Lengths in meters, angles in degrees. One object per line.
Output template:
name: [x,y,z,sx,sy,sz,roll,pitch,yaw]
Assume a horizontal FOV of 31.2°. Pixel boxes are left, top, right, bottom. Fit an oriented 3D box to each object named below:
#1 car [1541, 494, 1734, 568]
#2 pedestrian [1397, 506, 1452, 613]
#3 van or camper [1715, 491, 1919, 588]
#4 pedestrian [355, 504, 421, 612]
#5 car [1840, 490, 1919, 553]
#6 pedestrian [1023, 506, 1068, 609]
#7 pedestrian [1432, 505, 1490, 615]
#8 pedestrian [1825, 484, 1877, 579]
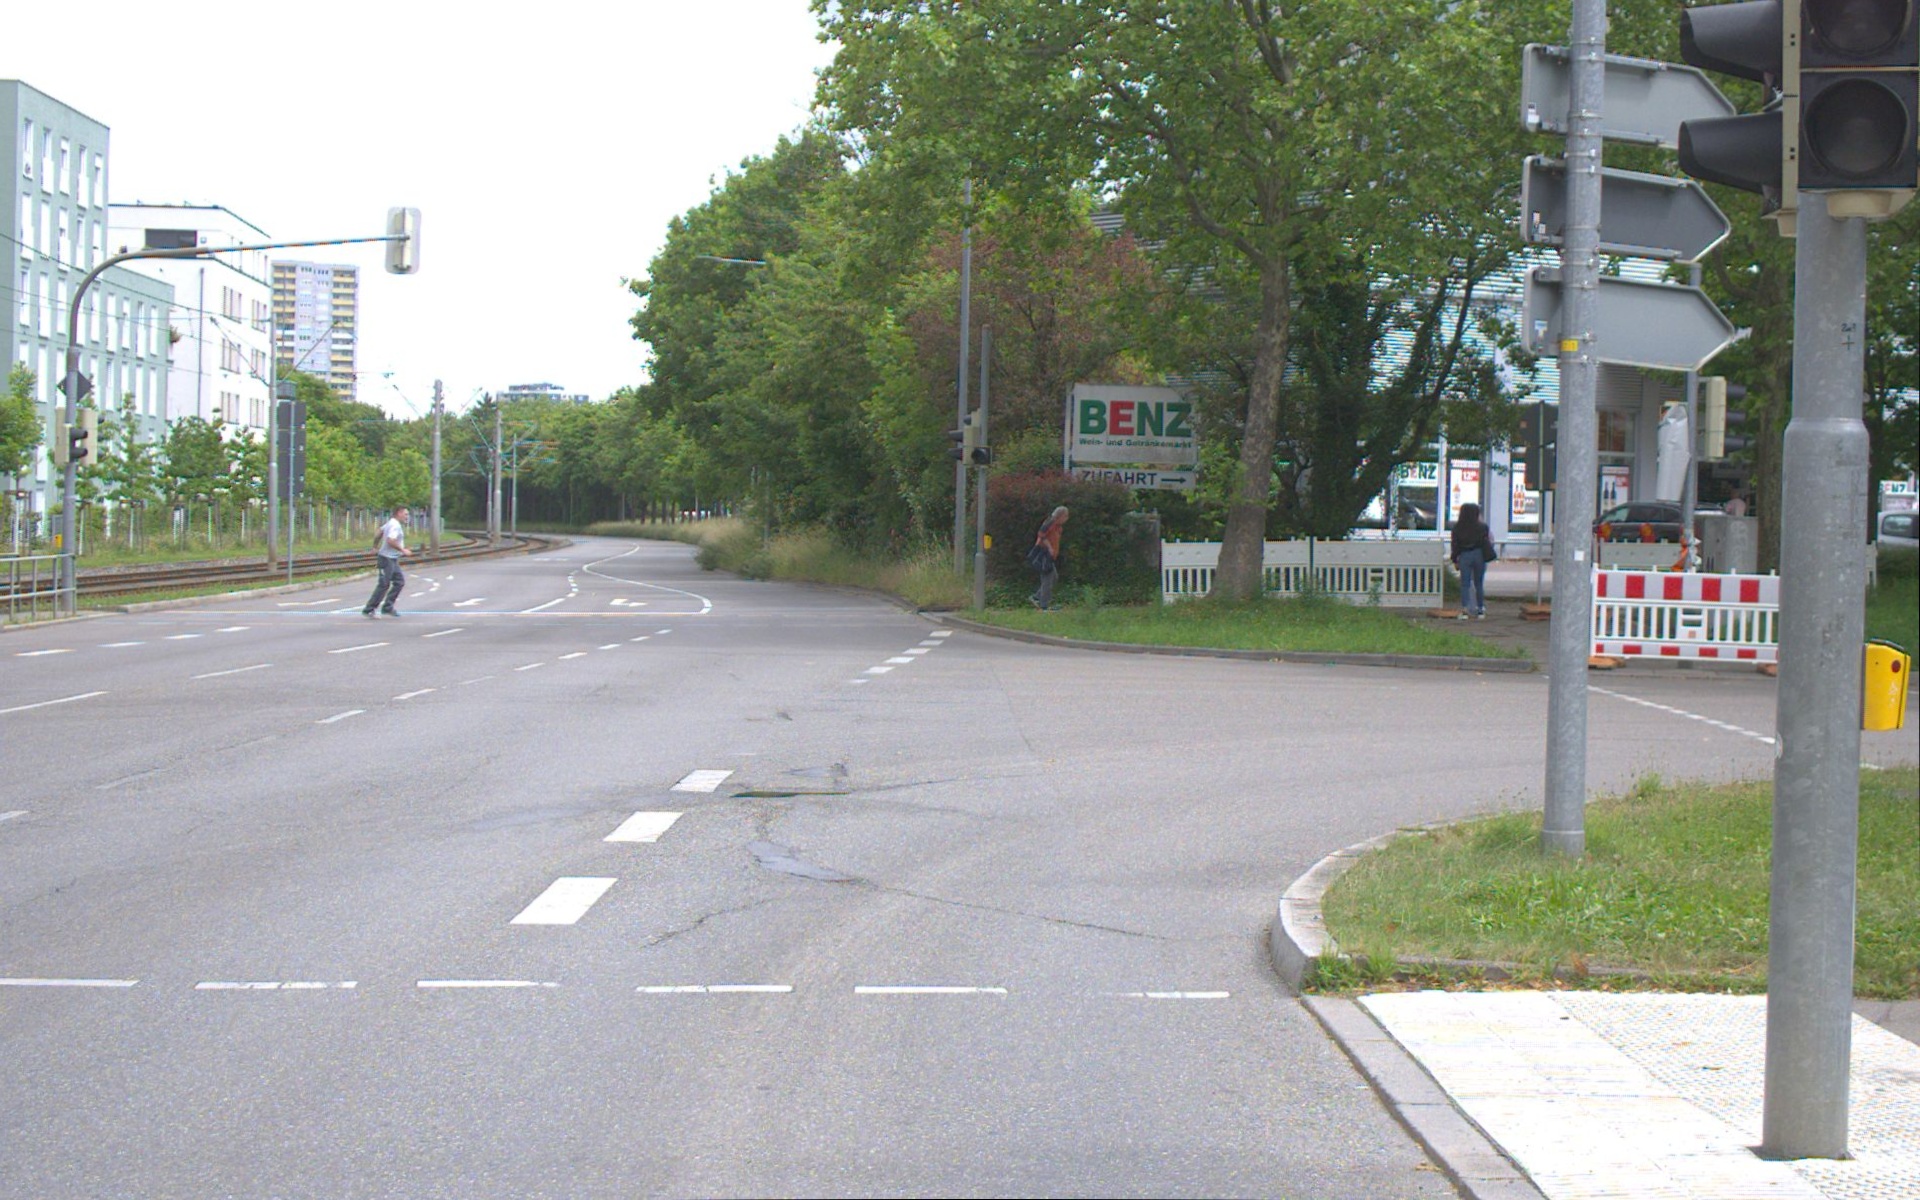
car: [14.242,-1.443,72.506,1.728,1.495,4.269,1,1,-27]
pedestrian: [6.522,-0.570,48.318,0.686,1.484,0.699,1,0,3]
van or camper: [15.666,-1.115,61.992,1.840,1.678,4.001,-1,2,-28]
pedestrian: [-8.538,-0.628,51.343,0.848,1.581,0.796,1,0,-2]
car: [21.822,-1.781,78.215,1.480,1.399,3.409,1,1,-31]
pedestrian: [1.293,-0.639,51.861,0.653,1.533,0.773,1,0,2]
pedestrian: [6.880,-0.546,47.242,0.718,1.484,0.699,1,0,4]
pedestrian: [18.934,-1.446,73.089,0.804,1.995,0.853,1,0,-5]
